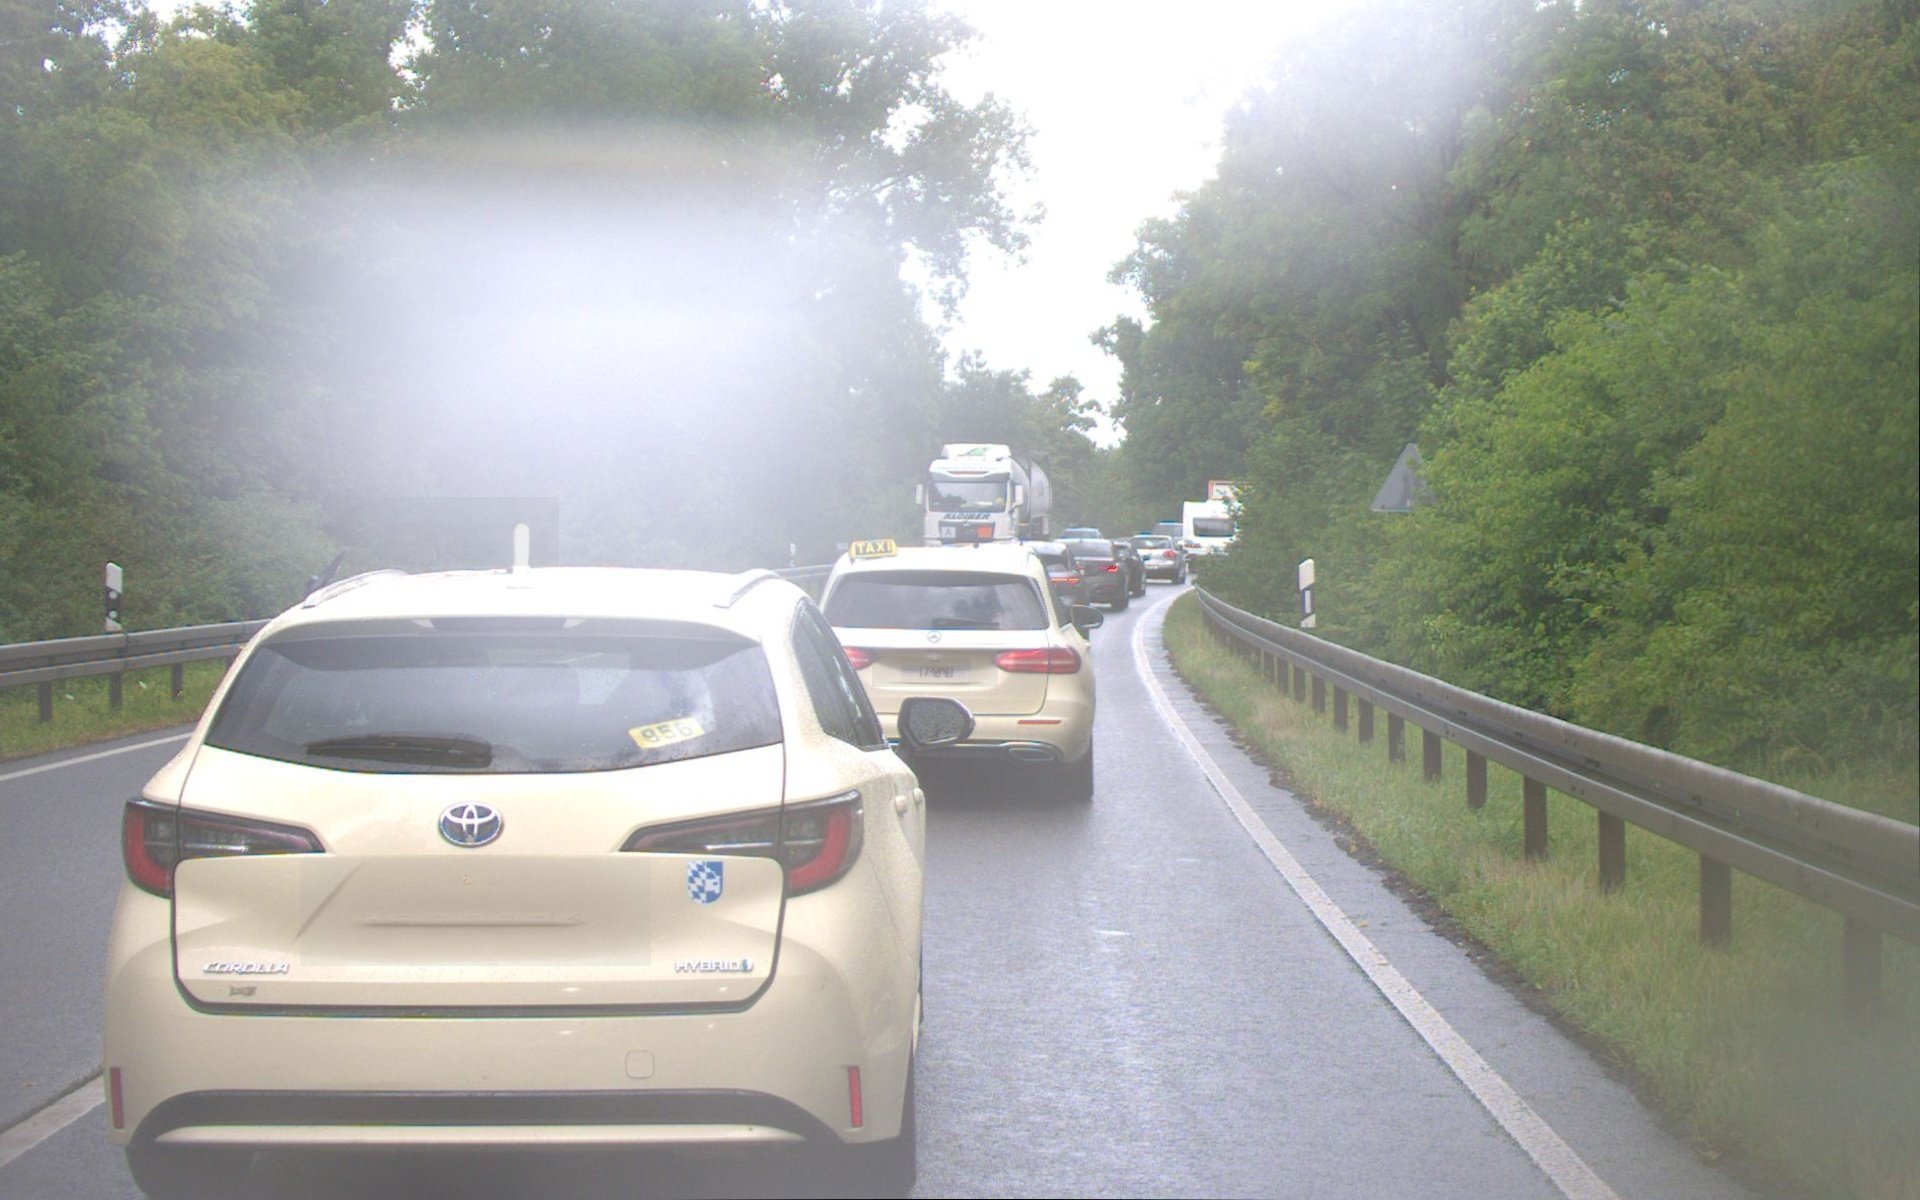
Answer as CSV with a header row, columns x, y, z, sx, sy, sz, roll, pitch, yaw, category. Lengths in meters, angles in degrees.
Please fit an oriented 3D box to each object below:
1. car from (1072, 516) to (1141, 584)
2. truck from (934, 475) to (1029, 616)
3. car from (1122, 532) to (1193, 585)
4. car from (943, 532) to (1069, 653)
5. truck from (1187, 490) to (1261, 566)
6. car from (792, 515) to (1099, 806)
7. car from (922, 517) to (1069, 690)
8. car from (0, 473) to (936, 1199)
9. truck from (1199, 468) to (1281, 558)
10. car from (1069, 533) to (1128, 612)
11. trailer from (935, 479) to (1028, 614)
x,y,z,sx,sy,sz,roll,pitch,yaw,category
3.583,-1.215,83.820,1.616,1.607,3.621,1,0,3,car
0.615,-1.514,96.519,2.536,3.812,5.245,1,0,1,truck
6.018,-1.254,104.399,1.770,1.541,3.812,1,0,9,car
0.640,-0.132,46.008,1.611,1.541,3.814,0,1,2,car
9.713,-2.625,127.105,2.550,2.704,7.534,1,0,3,truck
-0.027,0.315,20.828,1.667,1.575,3.892,1,0,2,car
0.352,0.016,32.672,1.300,1.541,3.260,1,0,1,car
-0.992,0.534,8.794,1.833,1.575,4.157,1,0,0,car
11.925,-3.660,145.945,3.108,3.668,6.998,1,0,7,truck
2.820,-0.558,69.756,1.167,1.541,2.604,1,0,3,car
0.693,-1.562,101.901,2.536,3.812,7.791,1,0,2,trailer
